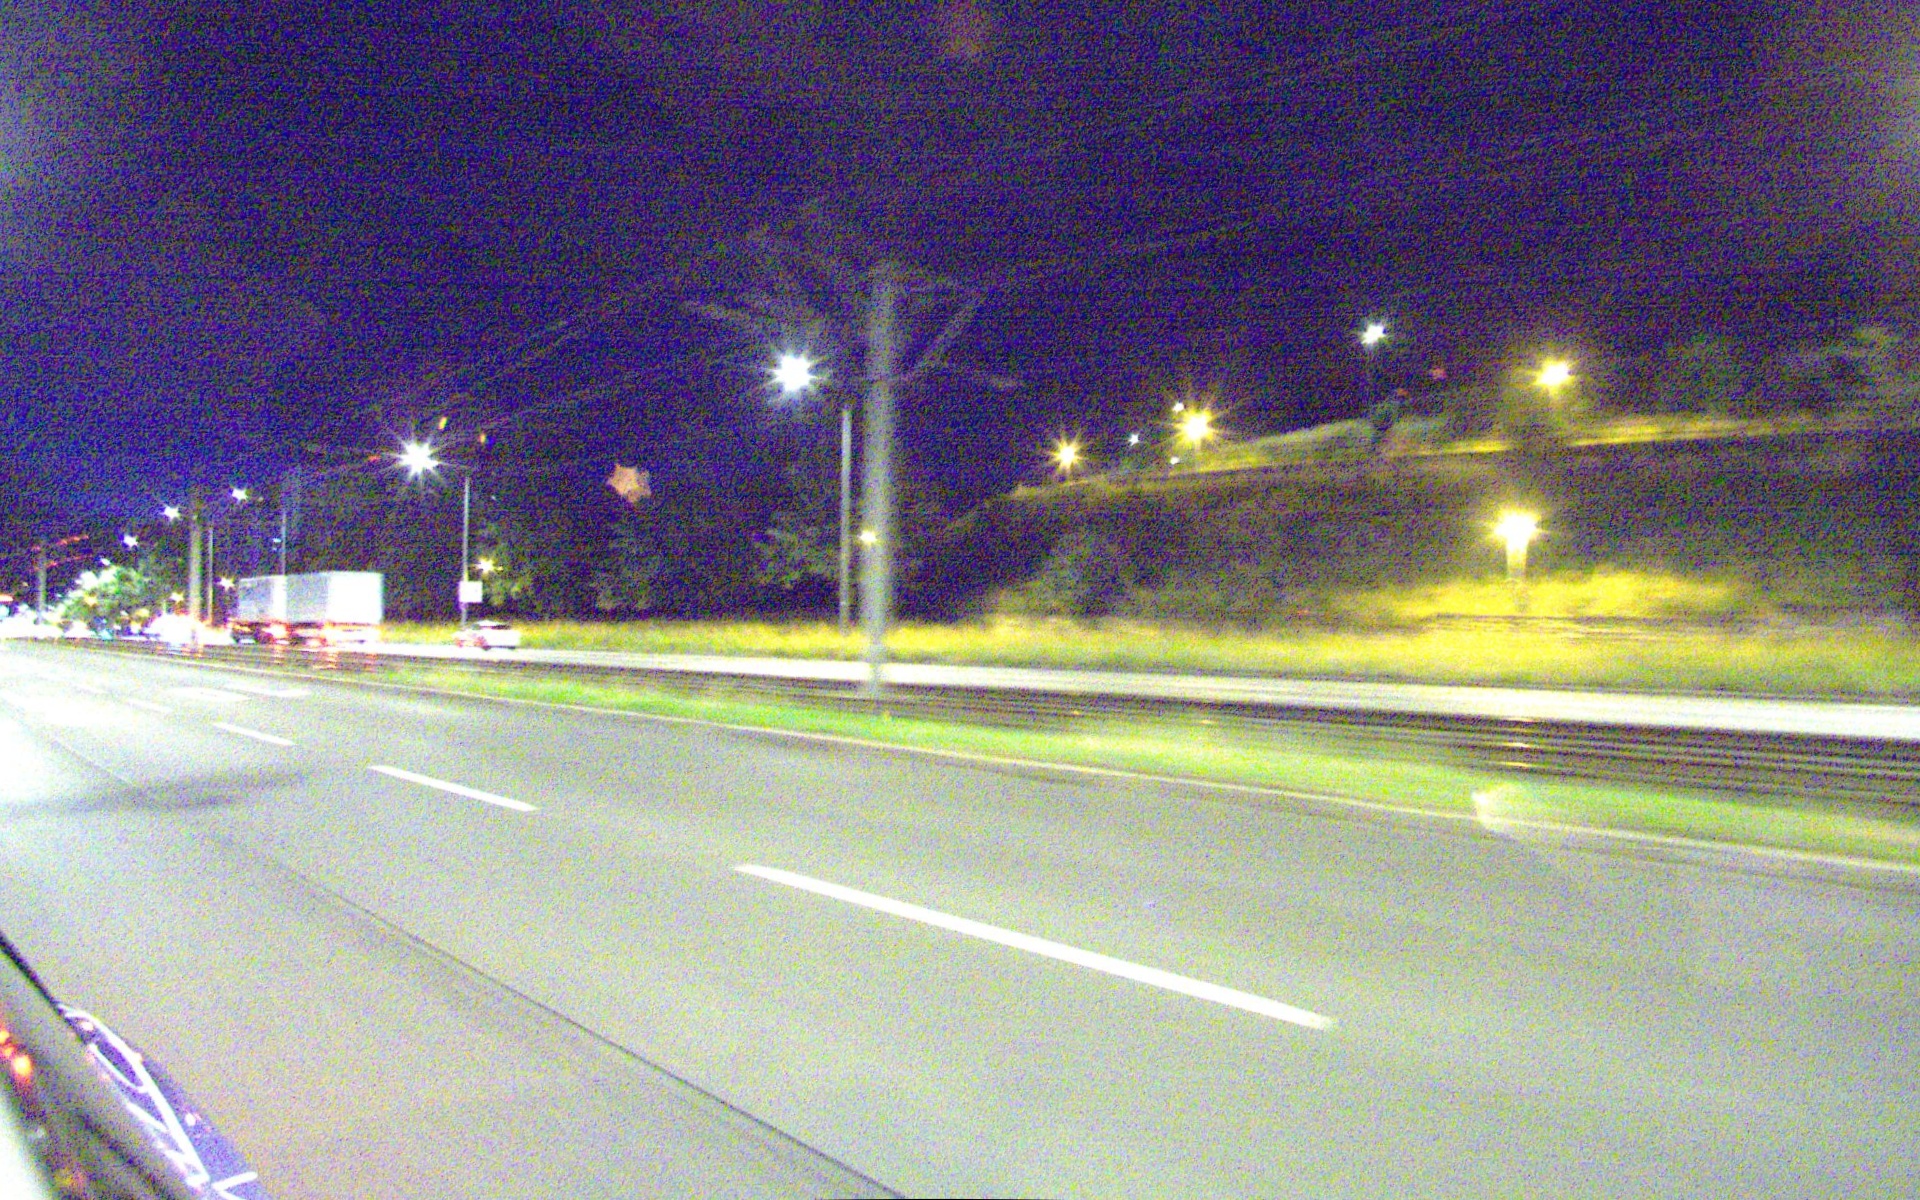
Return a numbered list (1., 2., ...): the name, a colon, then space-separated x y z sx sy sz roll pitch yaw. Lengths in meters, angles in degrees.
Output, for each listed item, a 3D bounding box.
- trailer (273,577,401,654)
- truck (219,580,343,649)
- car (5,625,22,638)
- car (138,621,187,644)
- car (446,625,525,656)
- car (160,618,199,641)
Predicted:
1. trailer: -35.196 0.802 57.010 8.388 4.019 3.659 -1 0 40
2. truck: -42.454 0.853 63.110 10.413 3.984 3.644 -1 0 40
3. car: -143.195 4.757 153.110 1.769 1.921 4.003 -1 0 -44
4. car: -54.401 2.181 69.019 4.080 1.510 1.786 -1 -1 39
5. car: -23.960 2.009 51.059 4.200 1.492 1.966 -1 -3 40
6. car: -60.076 2.255 77.859 3.961 1.637 1.707 -1 0 42
